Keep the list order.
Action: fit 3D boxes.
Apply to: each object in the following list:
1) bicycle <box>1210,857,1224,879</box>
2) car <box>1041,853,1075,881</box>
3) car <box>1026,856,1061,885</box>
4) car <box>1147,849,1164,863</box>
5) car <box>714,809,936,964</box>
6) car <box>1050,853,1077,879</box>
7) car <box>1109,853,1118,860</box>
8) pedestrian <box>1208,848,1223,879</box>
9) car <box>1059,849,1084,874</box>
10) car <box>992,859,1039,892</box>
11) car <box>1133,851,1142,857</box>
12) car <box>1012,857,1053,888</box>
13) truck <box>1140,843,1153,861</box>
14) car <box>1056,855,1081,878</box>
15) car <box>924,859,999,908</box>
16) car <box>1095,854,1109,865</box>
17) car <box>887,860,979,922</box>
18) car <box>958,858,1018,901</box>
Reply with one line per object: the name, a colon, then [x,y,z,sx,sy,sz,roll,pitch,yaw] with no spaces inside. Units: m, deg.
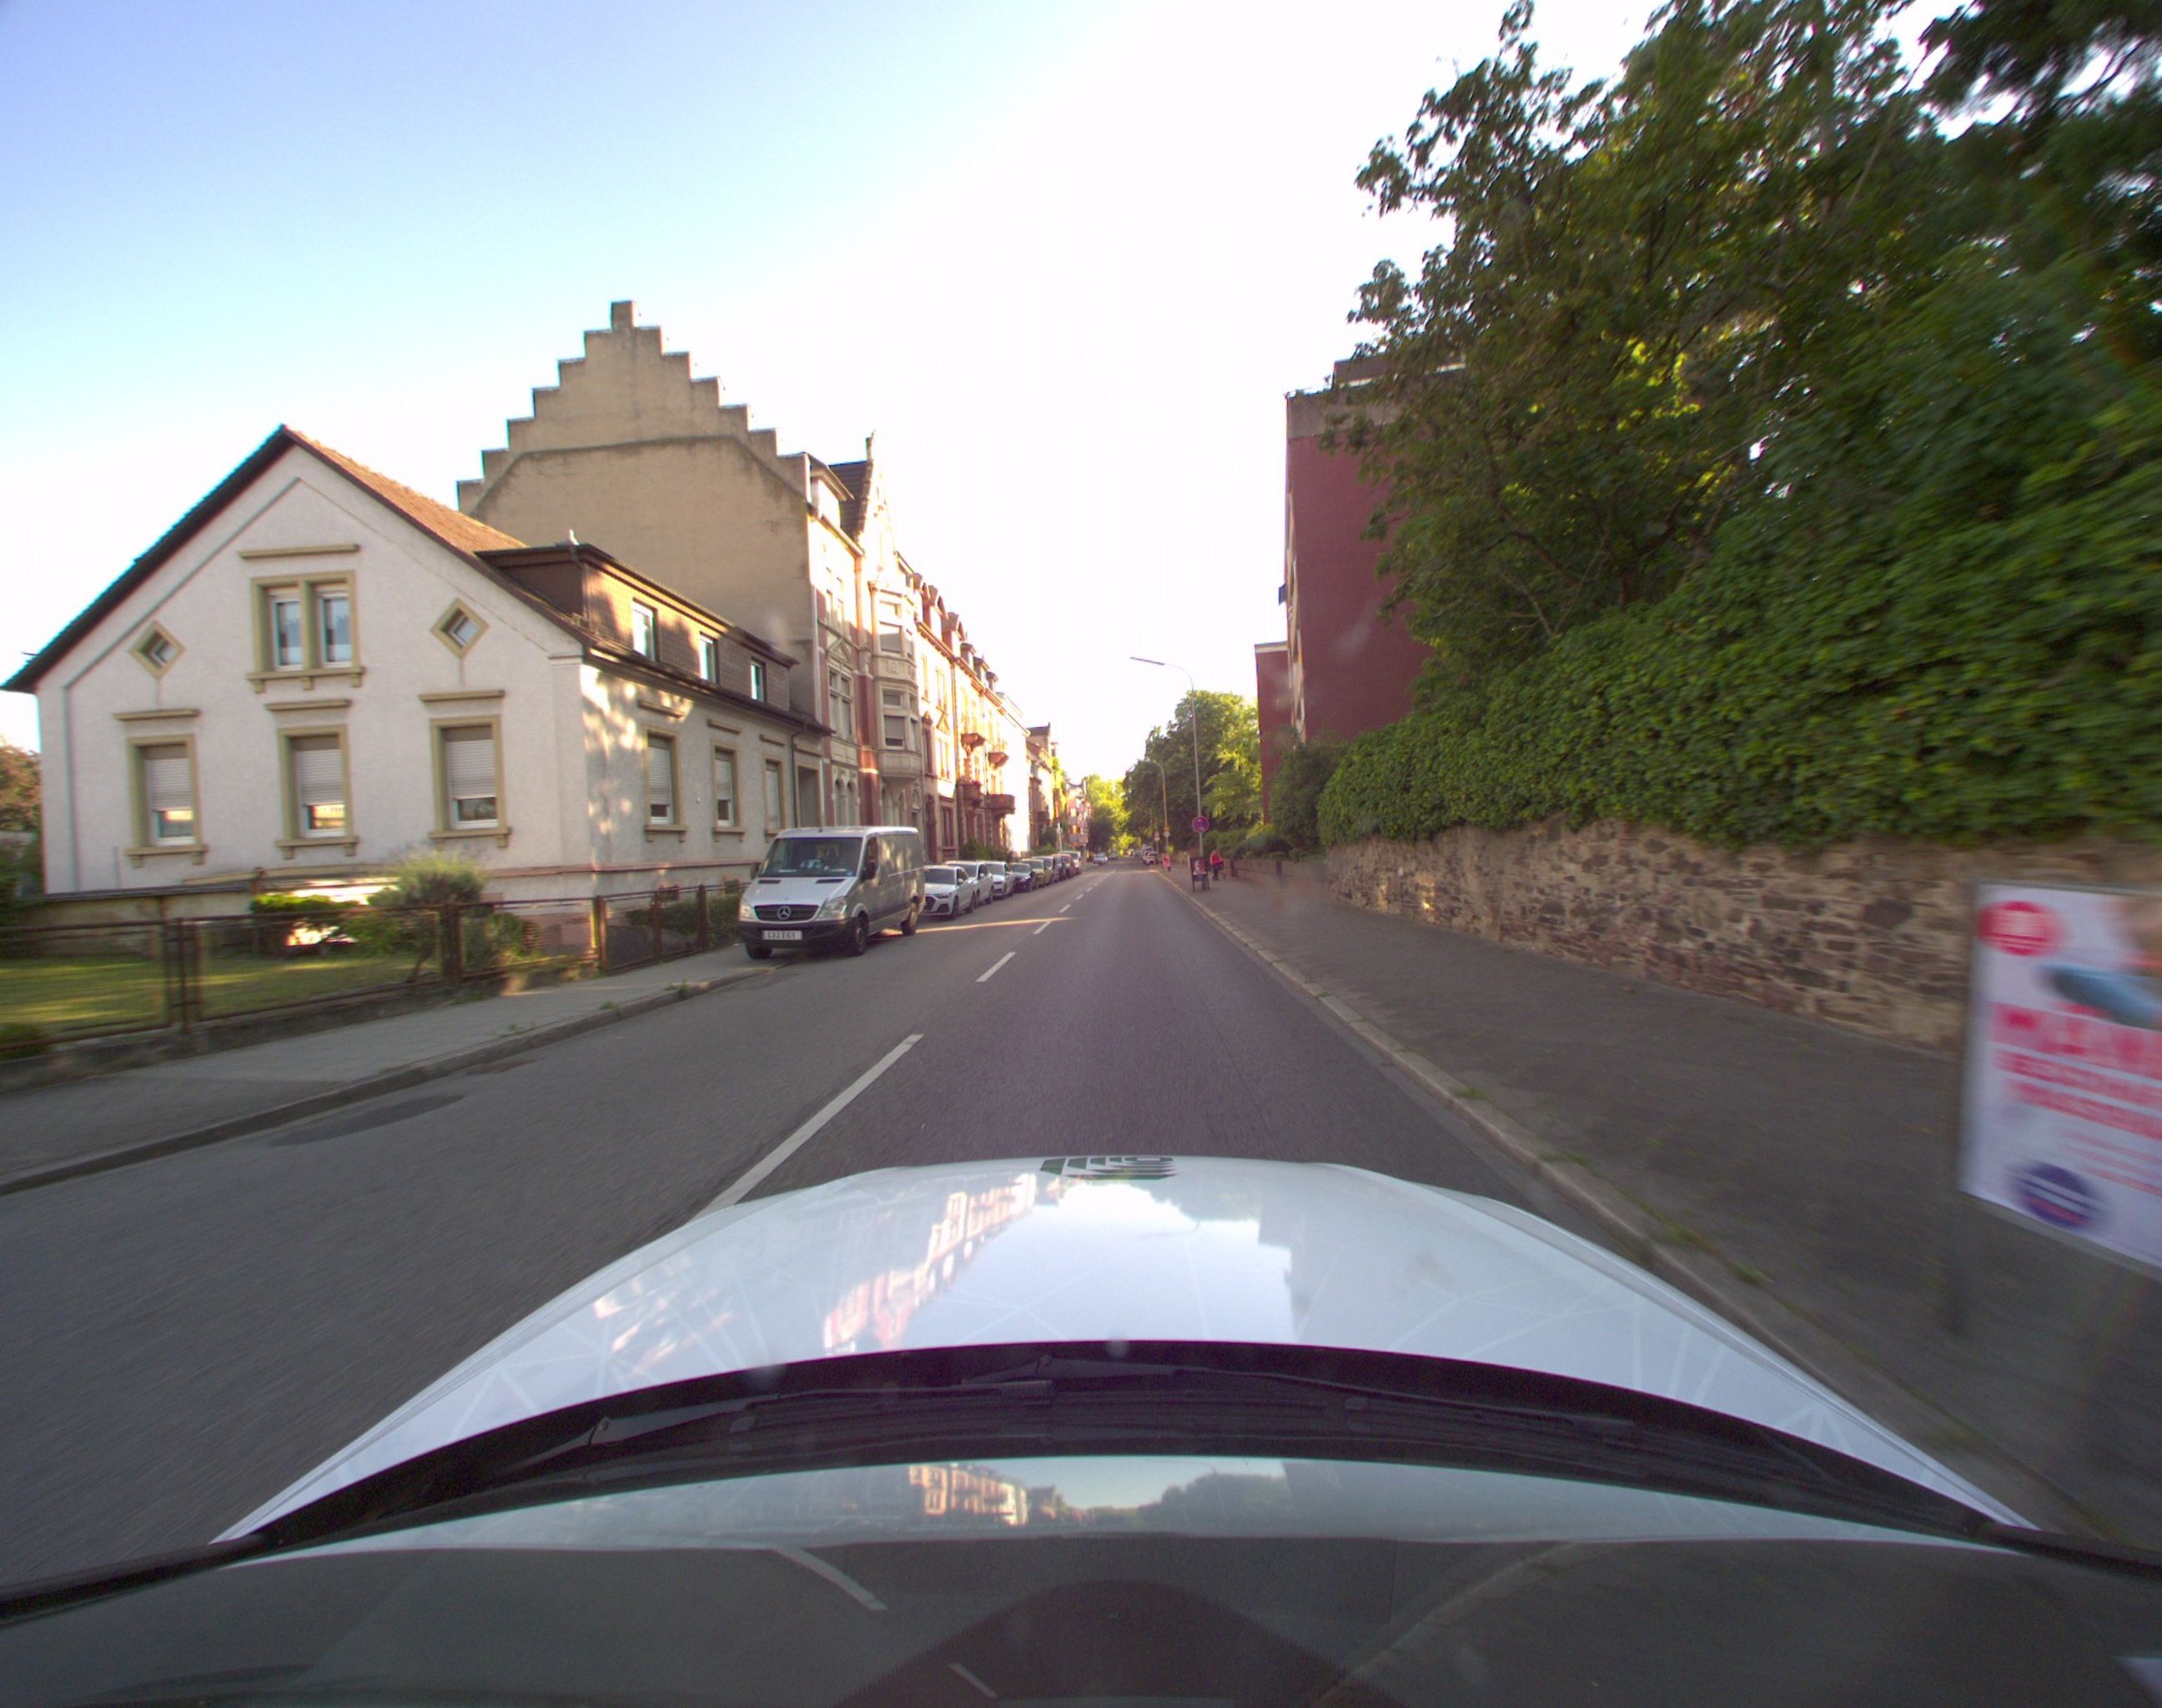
bicycle: [6.297,0.638,37.684,0.564,0.970,0.492,-1,1,1]
car: [-1.459,0.813,53.351,1.695,1.707,4.446,-1,0,4]
car: [-2.186,0.924,48.322,1.696,1.584,3.637,-1,0,2]
car: [8.927,0.251,97.413,1.984,1.517,4.006,-3,1,5]
car: [-4.657,0.510,16.111,2.059,2.460,6.021,-1,0,4]
car: [-1.229,0.803,58.499,1.696,1.738,3.859,-1,0,2]
car: [7.847,0.642,196.917,1.985,1.491,4.475,-3,1,4]
pedestrian: [6.300,0.434,38.279,0.595,1.403,0.668,-1,1,2]
car: [-0.784,0.622,69.104,1.785,2.010,4.701,-1,0,3]
car: [-3.002,0.974,38.252,1.696,1.366,3.862,-1,0,2]
car: [15.939,-0.051,229.795,1.987,1.491,4.471,-3,1,1]
car: [-2.535,0.976,43.317,1.696,1.503,4.075,-1,-1,2]
truck: [11.170,-0.431,138.663,1.985,2.896,4.475,-3,1,3]
car: [-0.938,0.955,63.754,1.696,1.619,4.120,-1,0,2]
car: [-4.046,0.953,28.214,1.695,1.503,4.025,-1,0,4]
car: [3.364,0.845,130.257,1.985,1.491,4.475,-3,1,4]
car: [-4.077,0.979,22.972,1.696,1.503,3.826,-1,0,2]
car: [-3.688,0.987,33.040,1.696,1.536,4.552,-1,0,3]
